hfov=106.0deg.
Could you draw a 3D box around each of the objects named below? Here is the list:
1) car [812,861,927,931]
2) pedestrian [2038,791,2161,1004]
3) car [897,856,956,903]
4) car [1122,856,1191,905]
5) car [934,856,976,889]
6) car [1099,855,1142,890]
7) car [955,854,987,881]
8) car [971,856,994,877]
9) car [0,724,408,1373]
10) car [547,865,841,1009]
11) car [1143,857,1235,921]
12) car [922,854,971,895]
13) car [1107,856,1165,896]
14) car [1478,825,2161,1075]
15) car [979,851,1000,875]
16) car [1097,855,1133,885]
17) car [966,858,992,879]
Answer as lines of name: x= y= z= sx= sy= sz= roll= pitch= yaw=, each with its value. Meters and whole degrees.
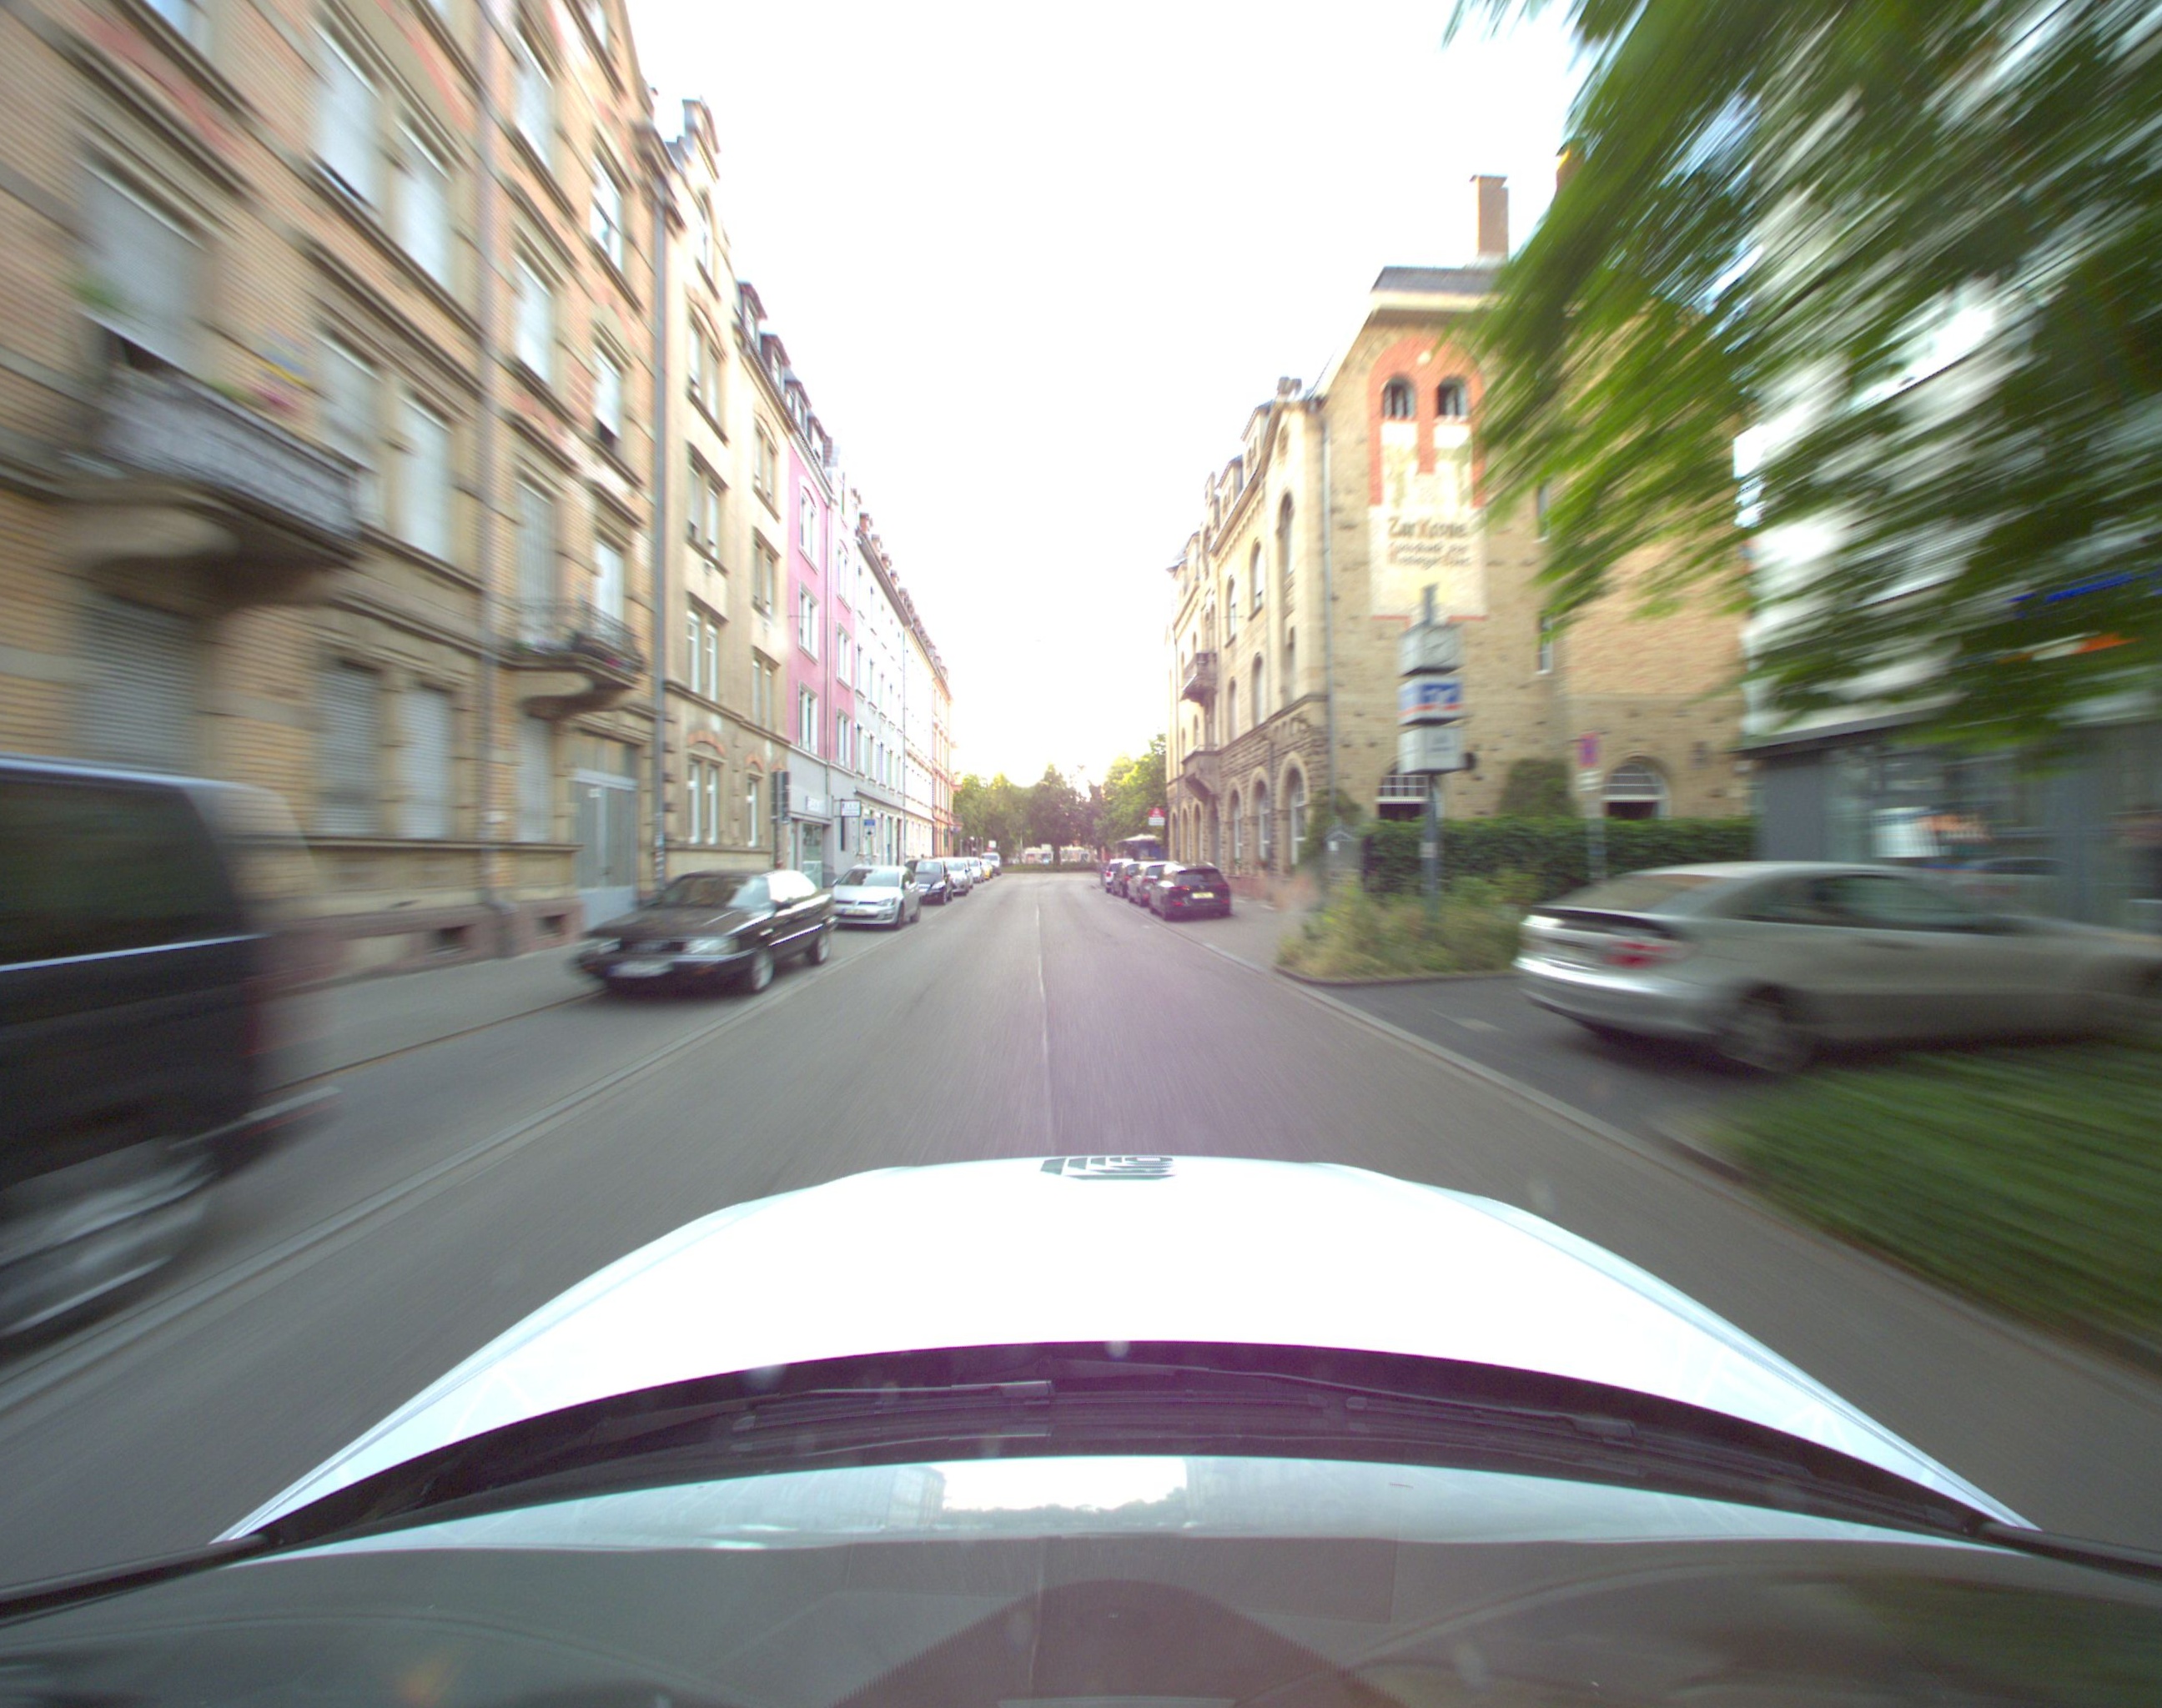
car: x=-5.017 y=0.932 z=19.911 sx=1.830 sy=1.458 sz=4.202 roll=2 pitch=0 yaw=-3
pedestrian: x=8.993 y=0.344 z=6.845 sx=0.729 sy=1.716 sz=0.958 roll=-2 pitch=-1 yaw=-16
car: x=-5.522 y=0.862 z=29.408 sx=1.633 sy=1.565 sz=3.776 roll=1 pitch=0 yaw=-4
car: x=2.540 y=0.854 z=28.291 sx=1.673 sy=1.456 sz=4.224 roll=-3 pitch=0 yaw=-4
car: x=-6.319 y=0.885 z=41.074 sx=1.695 sy=1.552 sz=3.564 roll=1 pitch=0 yaw=-4
car: x=1.844 y=0.838 z=38.904 sx=1.672 sy=1.501 sz=3.898 roll=-3 pitch=0 yaw=-2
car: x=-6.952 y=0.848 z=51.638 sx=1.695 sy=1.621 sz=4.017 roll=1 pitch=0 yaw=-3
car: x=-7.677 y=0.943 z=63.787 sx=1.696 sy=1.552 sz=4.014 roll=1 pitch=0 yaw=-6
car: x=-4.094 y=0.552 z=1.425 sx=1.990 sy=1.924 sz=4.941 roll=2 pitch=0 yaw=-6
car: x=-4.563 y=0.875 z=10.543 sx=1.733 sy=1.418 sz=4.772 roll=1 pitch=-1 yaw=-4
car: x=2.836 y=0.867 z=22.315 sx=1.672 sy=1.429 sz=4.474 roll=-4 pitch=0 yaw=-2
car: x=-5.817 y=0.865 z=35.576 sx=1.842 sy=1.659 sz=4.243 roll=-1 pitch=0 yaw=-6
car: x=2.223 y=0.875 z=33.895 sx=1.675 sy=1.456 sz=3.791 roll=-3 pitch=0 yaw=-7
car: x=5.626 y=0.629 z=6.392 sx=4.075 sy=1.452 sz=1.881 roll=-3 pitch=0 yaw=-1
car: x=-8.119 y=0.786 z=72.029 sx=1.809 sy=1.977 sz=4.175 roll=1 pitch=-1 yaw=-7
car: x=1.818 y=0.842 z=44.775 sx=1.672 sy=1.501 sz=4.015 roll=-3 pitch=0 yaw=-2
car: x=-7.233 y=1.001 z=57.883 sx=1.696 sy=1.426 sz=4.014 roll=1 pitch=0 yaw=-6
